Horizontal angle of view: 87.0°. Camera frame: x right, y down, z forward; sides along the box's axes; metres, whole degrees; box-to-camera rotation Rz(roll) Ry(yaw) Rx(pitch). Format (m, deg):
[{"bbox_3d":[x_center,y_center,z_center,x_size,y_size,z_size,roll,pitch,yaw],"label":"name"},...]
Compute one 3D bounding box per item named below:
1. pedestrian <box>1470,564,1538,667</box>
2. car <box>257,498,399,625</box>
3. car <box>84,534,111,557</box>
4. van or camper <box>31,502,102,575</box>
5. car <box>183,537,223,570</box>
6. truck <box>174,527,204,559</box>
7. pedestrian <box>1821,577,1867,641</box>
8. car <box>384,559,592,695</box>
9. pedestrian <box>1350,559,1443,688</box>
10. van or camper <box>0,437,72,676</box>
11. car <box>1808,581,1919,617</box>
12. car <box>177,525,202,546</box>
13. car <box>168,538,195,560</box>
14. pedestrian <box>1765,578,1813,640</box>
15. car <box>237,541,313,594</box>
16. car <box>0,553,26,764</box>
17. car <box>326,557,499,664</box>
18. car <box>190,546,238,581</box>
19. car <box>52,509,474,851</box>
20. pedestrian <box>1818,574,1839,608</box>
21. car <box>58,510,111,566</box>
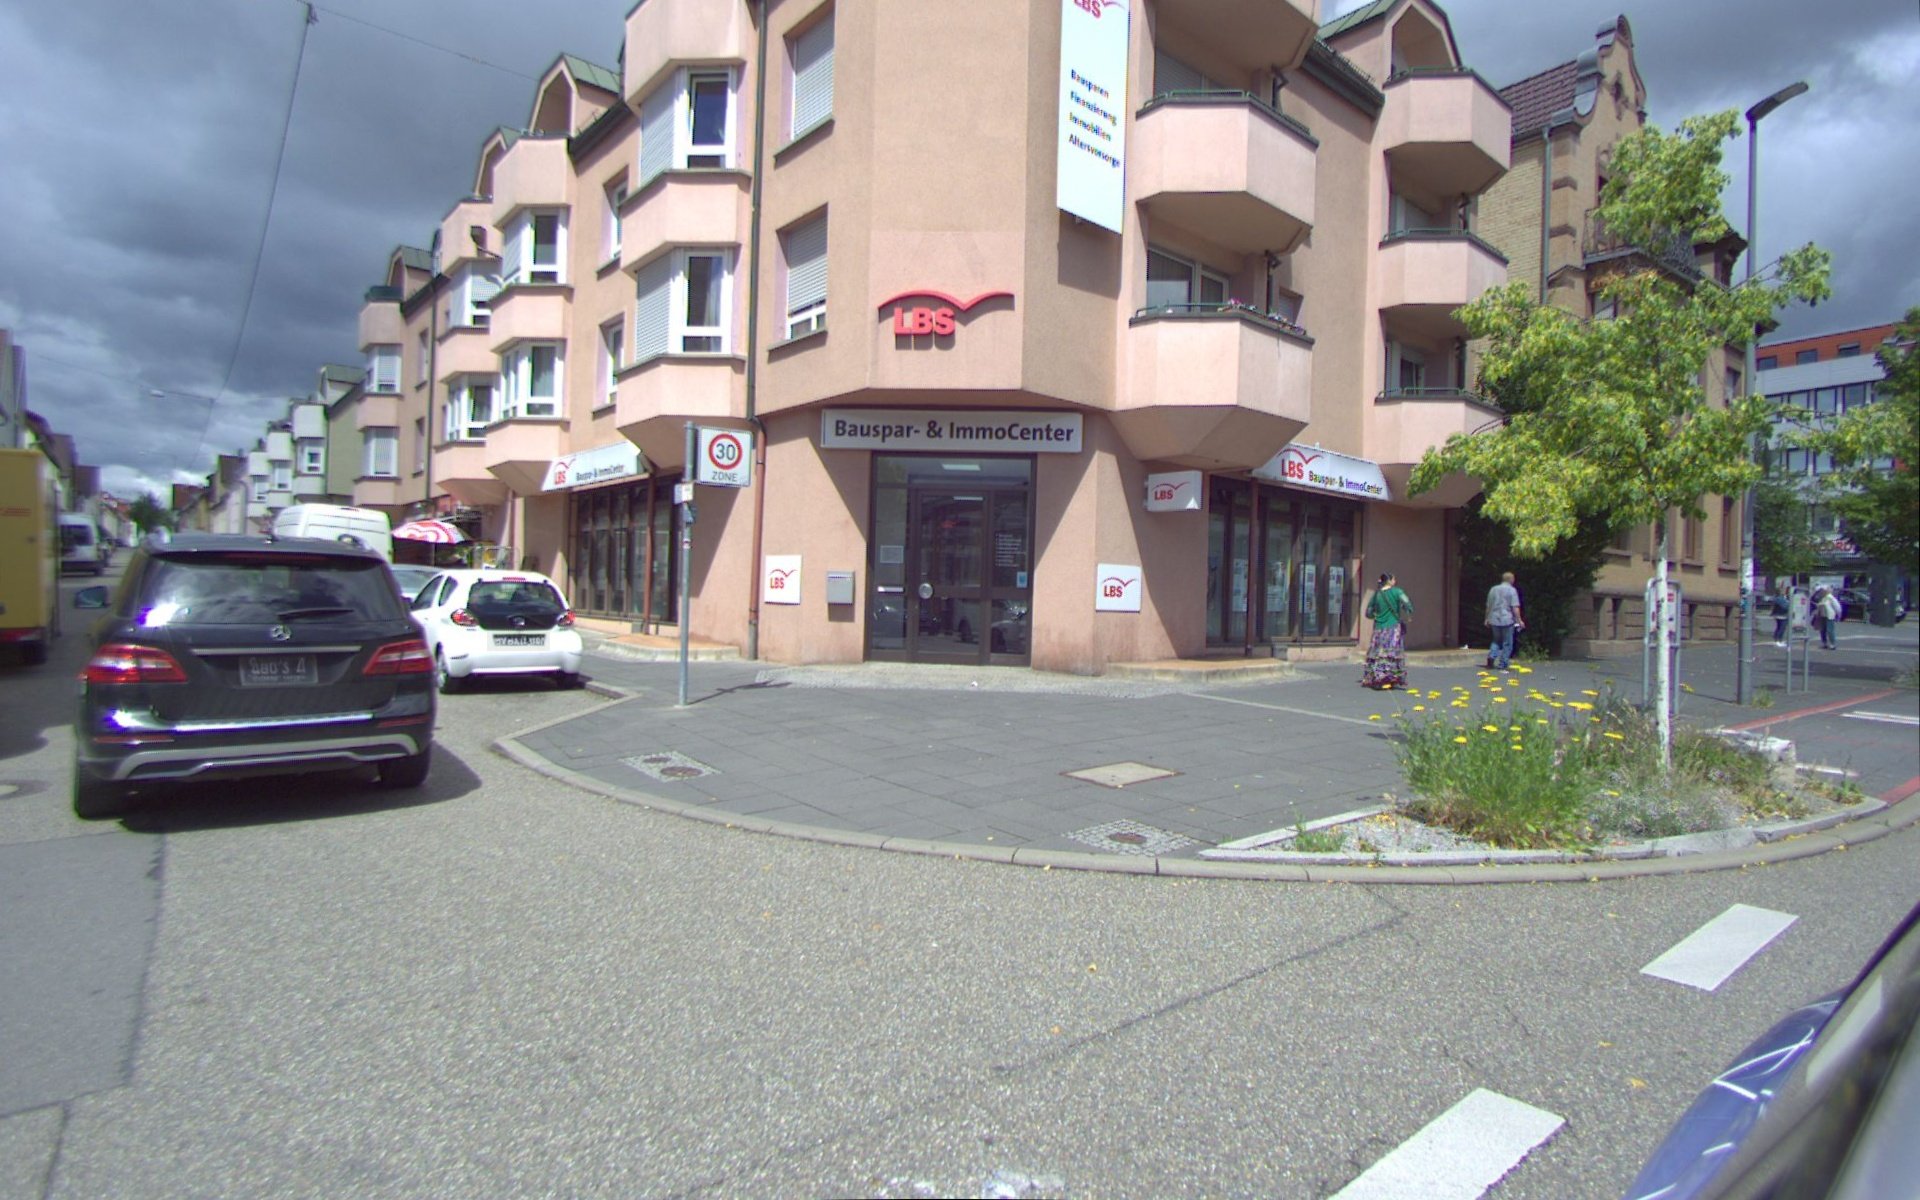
[{"bbox_3d":[9.384,0.246,17.448,0.928,1.706,0.717,-1,2,-41],"label":"pedestrian"},{"bbox_3d":[-14.827,-0.887,23.542,2.089,2.585,5.901,1,1,-39],"label":"car"},{"bbox_3d":[-81.094,-5.088,95.176,1.839,1.971,3.851,-1,0,-40],"label":"car"},{"bbox_3d":[-37.103,-2.464,42.120,2.017,2.741,5.157,-1,0,-40],"label":"van or camper"},{"bbox_3d":[-41.393,-2.533,55.286,1.602,1.662,3.774,1,2,-39],"label":"car"},{"bbox_3d":[-56.742,-4.185,74.464,1.602,2.161,5.386,1,1,-39],"label":"truck"},{"bbox_3d":[23.610,0.232,27.039,0.725,1.679,0.699,-1,0,-26],"label":"pedestrian"},{"bbox_3d":[-6.277,0.263,13.278,1.687,1.495,3.390,1,2,-39],"label":"car"},{"bbox_3d":[5.903,0.306,13.691,0.910,1.659,0.746,2,2,-39],"label":"pedestrian"},{"bbox_3d":[-13.851,-0.678,13.960,2.237,2.769,6.871,-1,3,-40],"label":"van or camper"},{"bbox_3d":[43.317,-0.033,48.256,1.960,1.672,4.002,1,-1,-31],"label":"car"},{"bbox_3d":[-66.803,-5.576,87.749,1.602,1.662,3.774,1,2,-39],"label":"car"},{"bbox_3d":[-62.484,-4.071,81.241,1.602,1.662,3.774,1,2,-39],"label":"car"},{"bbox_3d":[22.568,0.239,27.563,0.661,1.660,0.741,-1,0,-12],"label":"pedestrian"},{"bbox_3d":[-21.090,-1.022,31.109,1.602,1.495,3.774,1,2,-39],"label":"car"},{"bbox_3d":[-8.840,0.357,8.183,1.752,1.495,3.901,1,2,-41],"label":"car"},{"bbox_3d":[-9.150,0.102,16.754,1.799,1.495,4.019,1,2,-39],"label":"car"},{"bbox_3d":[-34.490,-1.708,46.756,1.602,1.495,3.774,1,2,-39],"label":"car"},{"bbox_3d":[-5.258,0.333,7.618,1.963,1.768,4.530,1,2,-38],"label":"car"},{"bbox_3d":[50.890,-0.536,59.274,0.751,1.937,0.686,-1,0,-28],"label":"pedestrian"},{"bbox_3d":[-46.955,-3.268,54.379,2.017,2.741,4.712,-1,0,-40],"label":"car"}]
